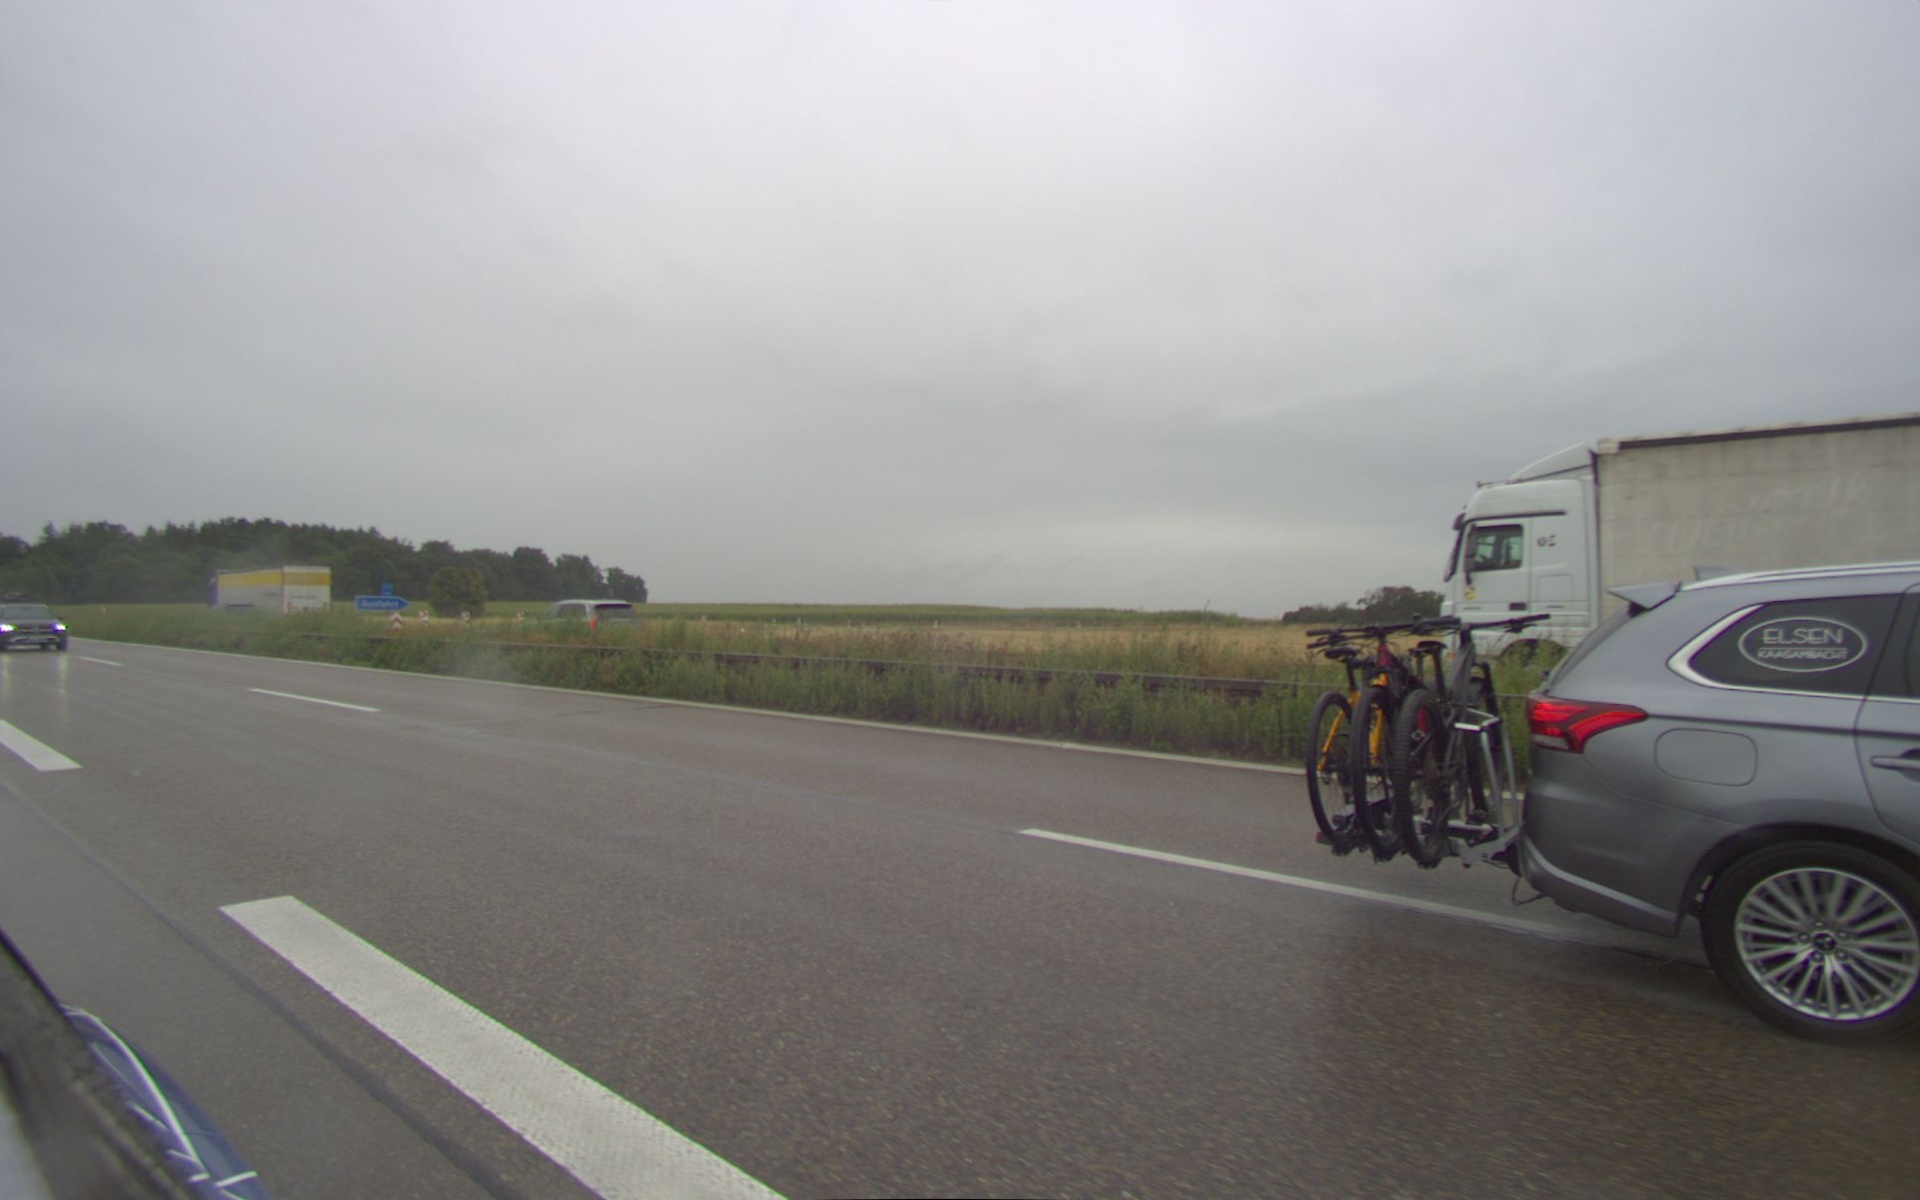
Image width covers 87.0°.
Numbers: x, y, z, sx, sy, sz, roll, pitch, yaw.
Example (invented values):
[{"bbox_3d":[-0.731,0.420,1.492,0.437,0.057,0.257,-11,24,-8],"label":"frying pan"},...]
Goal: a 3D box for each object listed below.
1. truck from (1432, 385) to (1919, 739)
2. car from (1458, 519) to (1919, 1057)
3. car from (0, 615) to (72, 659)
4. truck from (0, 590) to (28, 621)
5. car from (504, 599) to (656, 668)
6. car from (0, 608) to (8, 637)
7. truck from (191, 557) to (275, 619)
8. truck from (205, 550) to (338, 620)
[{"bbox_3d":[12.633,-0.438,14.139,10.509,4.418,3.195,-1,-2,41],"label":"truck"},{"bbox_3d":[4.473,0.572,3.002,5.098,1.646,1.843,-1,-1,40],"label":"car"},{"bbox_3d":[-33.438,1.270,36.062,4.593,1.465,2.072,-1,-2,41],"label":"car"},{"bbox_3d":[-127.995,0.778,135.488,13.807,3.996,3.161,-1,1,41],"label":"truck"},{"bbox_3d":[-11.333,0.962,30.025,4.865,1.890,2.084,-1,-2,40],"label":"car"},{"bbox_3d":[-57.527,1.284,59.279,4.593,1.648,2.123,-1,-2,41],"label":"car"},{"bbox_3d":[-49.612,-0.780,68.979,6.660,3.996,3.161,-1,1,41],"label":"truck"},{"bbox_3d":[-43.552,-0.838,63.622,15.311,3.996,3.161,-1,1,41],"label":"truck"}]
